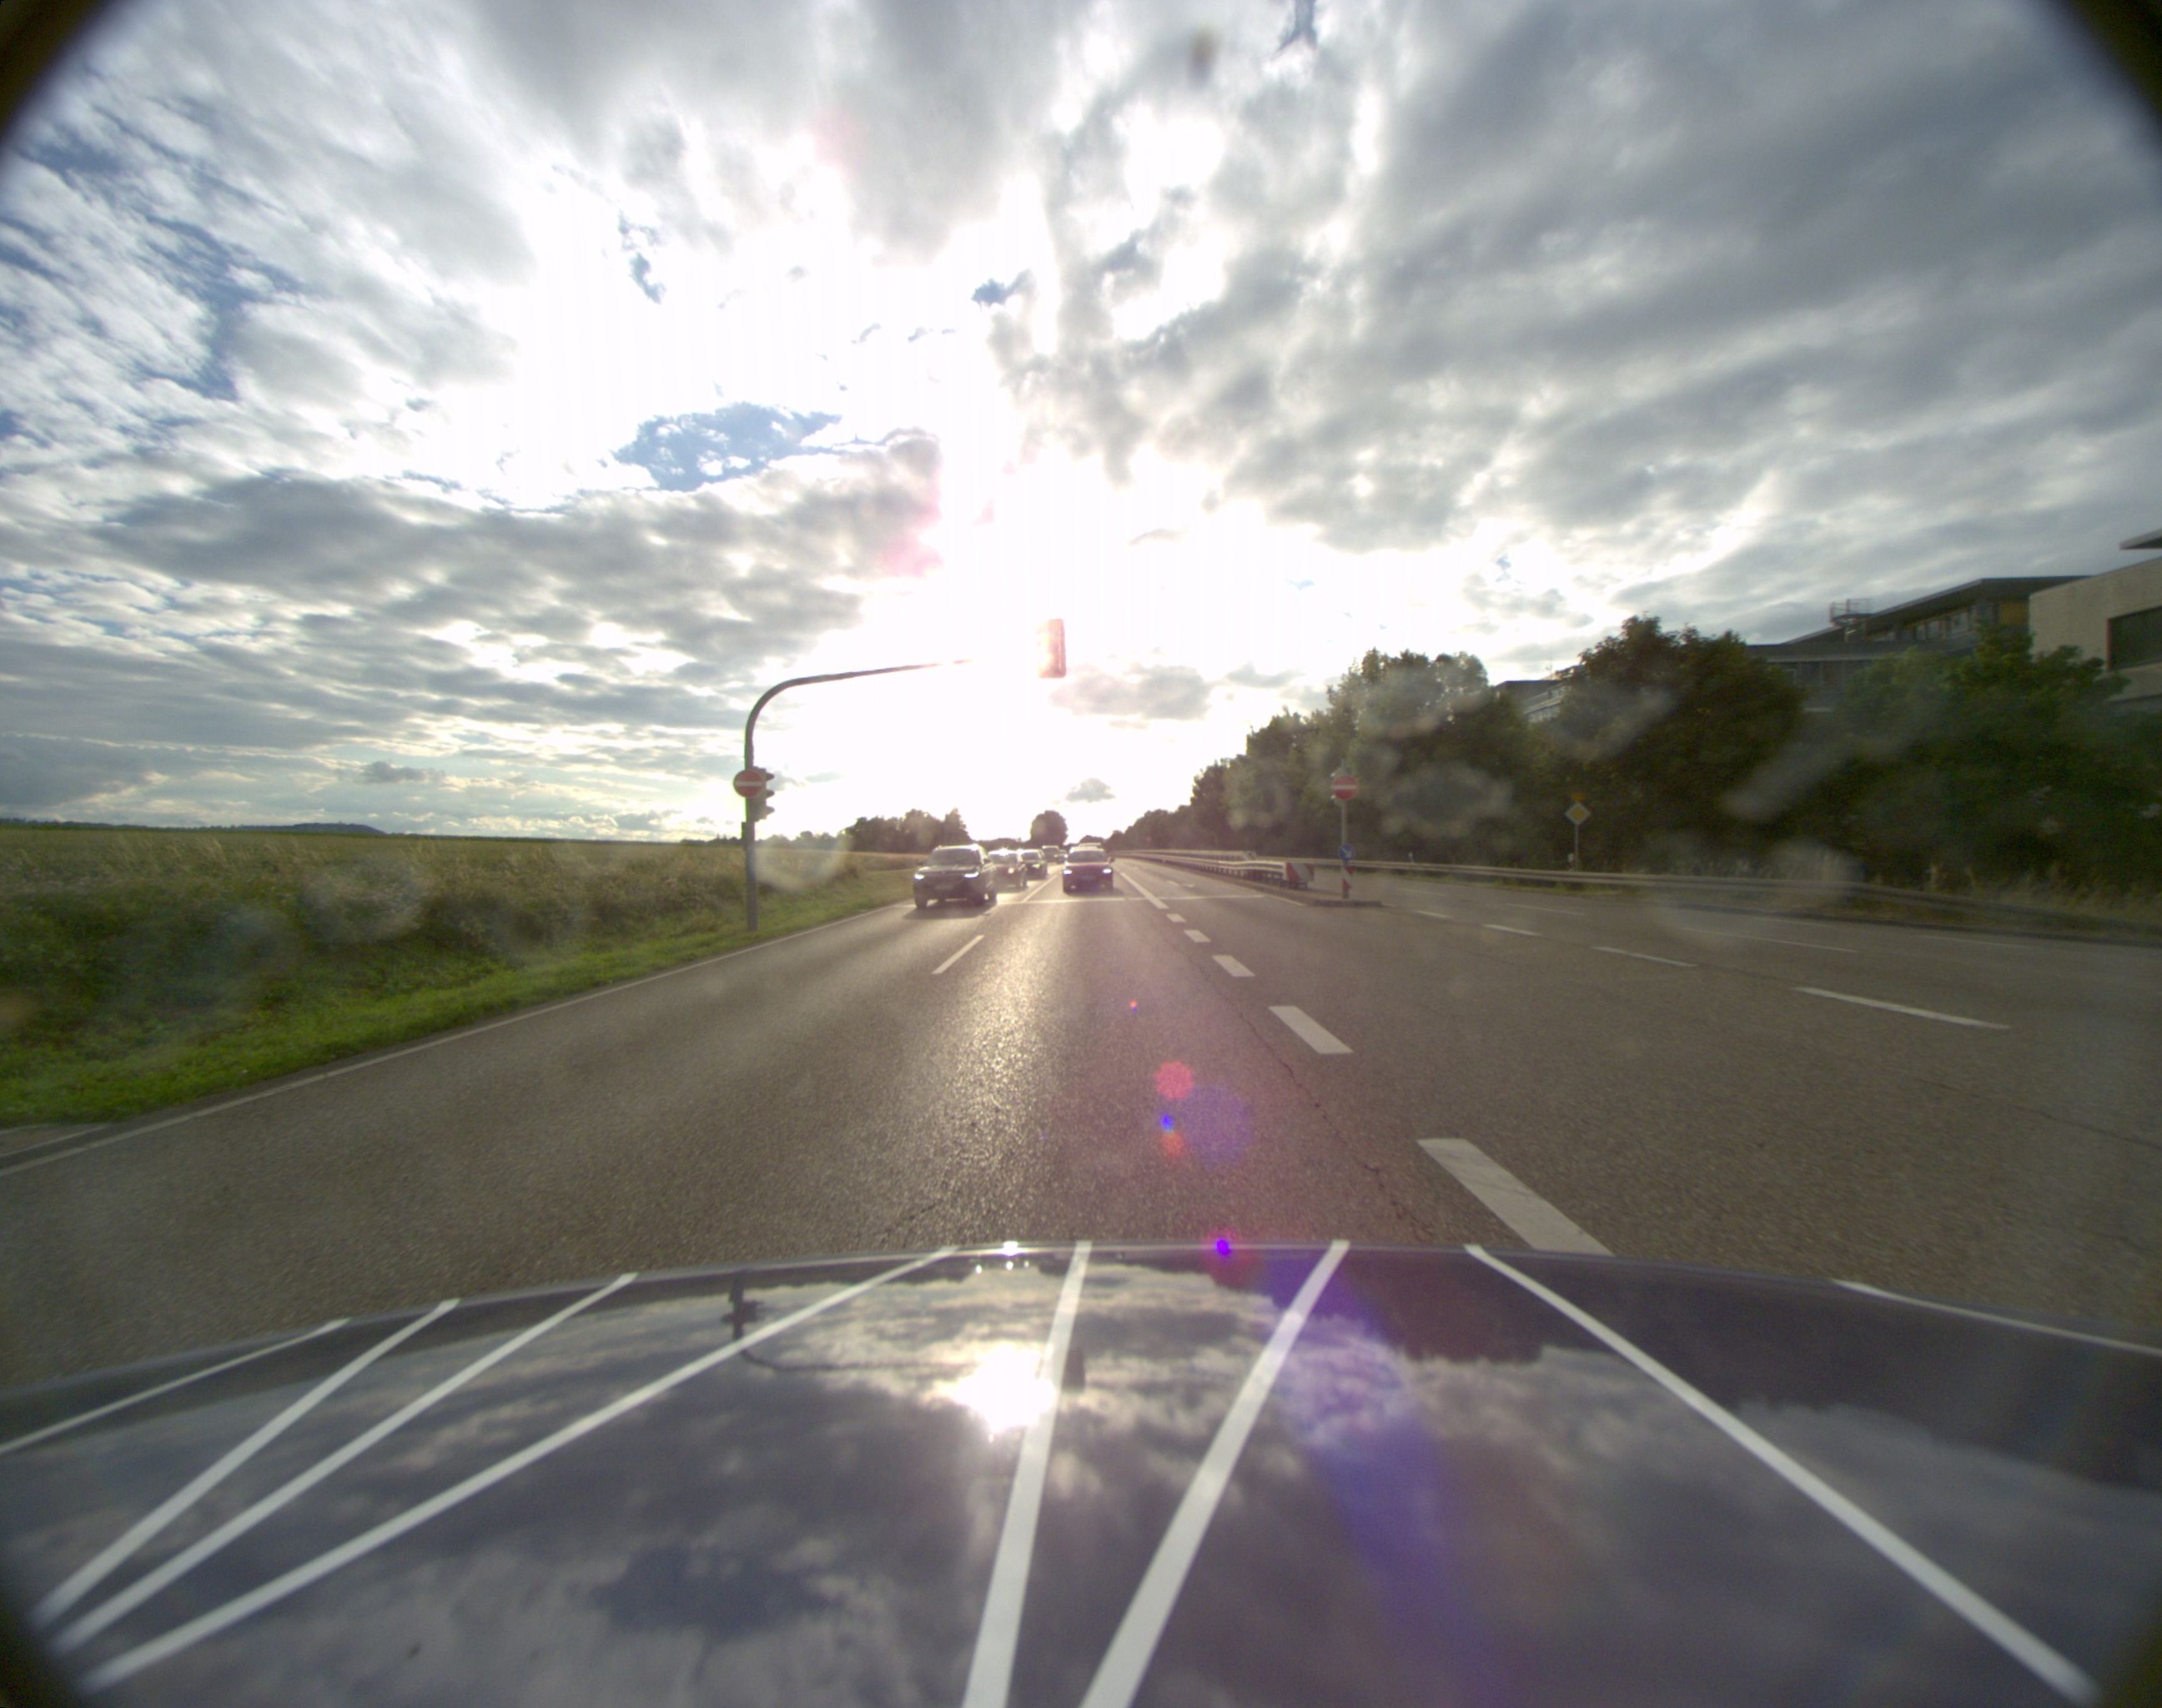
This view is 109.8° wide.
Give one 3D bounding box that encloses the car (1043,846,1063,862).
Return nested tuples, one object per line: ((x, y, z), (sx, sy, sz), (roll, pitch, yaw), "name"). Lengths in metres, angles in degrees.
((-2.934, -0.023, 79.438), (1.949, 1.652, 3.999), (-2, 1, 0), "car")

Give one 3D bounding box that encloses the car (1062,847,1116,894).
((0.326, 0.523, 26.848), (1.723, 1.467, 3.728), (-2, 0, 2), "car")

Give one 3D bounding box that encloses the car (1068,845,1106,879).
((0.281, 0.348, 37.791), (1.758, 1.543, 3.999), (-1, 1, 0), "car")

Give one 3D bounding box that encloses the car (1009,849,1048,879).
((-2.696, 0.493, 39.931), (1.723, 1.467, 3.865), (-2, 0, 0), "car")

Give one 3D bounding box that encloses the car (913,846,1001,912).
((-3.459, 0.628, 21.938), (1.723, 1.658, 4.418), (-2, 0, 0), "car")

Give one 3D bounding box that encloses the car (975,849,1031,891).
((-3.016, 0.579, 30.045), (1.668, 1.467, 3.865), (-2, 0, 2), "car")

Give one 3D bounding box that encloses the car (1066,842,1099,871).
((0.131, 0.114, 46.517), (1.786, 1.624, 3.865), (-2, 0, 2), "car")

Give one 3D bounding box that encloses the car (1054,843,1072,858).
((-2.264, -0.514, 96.739), (1.998, 1.740, 3.999), (3, 1, 1), "car")

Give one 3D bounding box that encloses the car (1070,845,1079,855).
((-1.519, -0.883, 172.920), (1.999, 2.002, 3.999), (-2, 1, -1), "car")
